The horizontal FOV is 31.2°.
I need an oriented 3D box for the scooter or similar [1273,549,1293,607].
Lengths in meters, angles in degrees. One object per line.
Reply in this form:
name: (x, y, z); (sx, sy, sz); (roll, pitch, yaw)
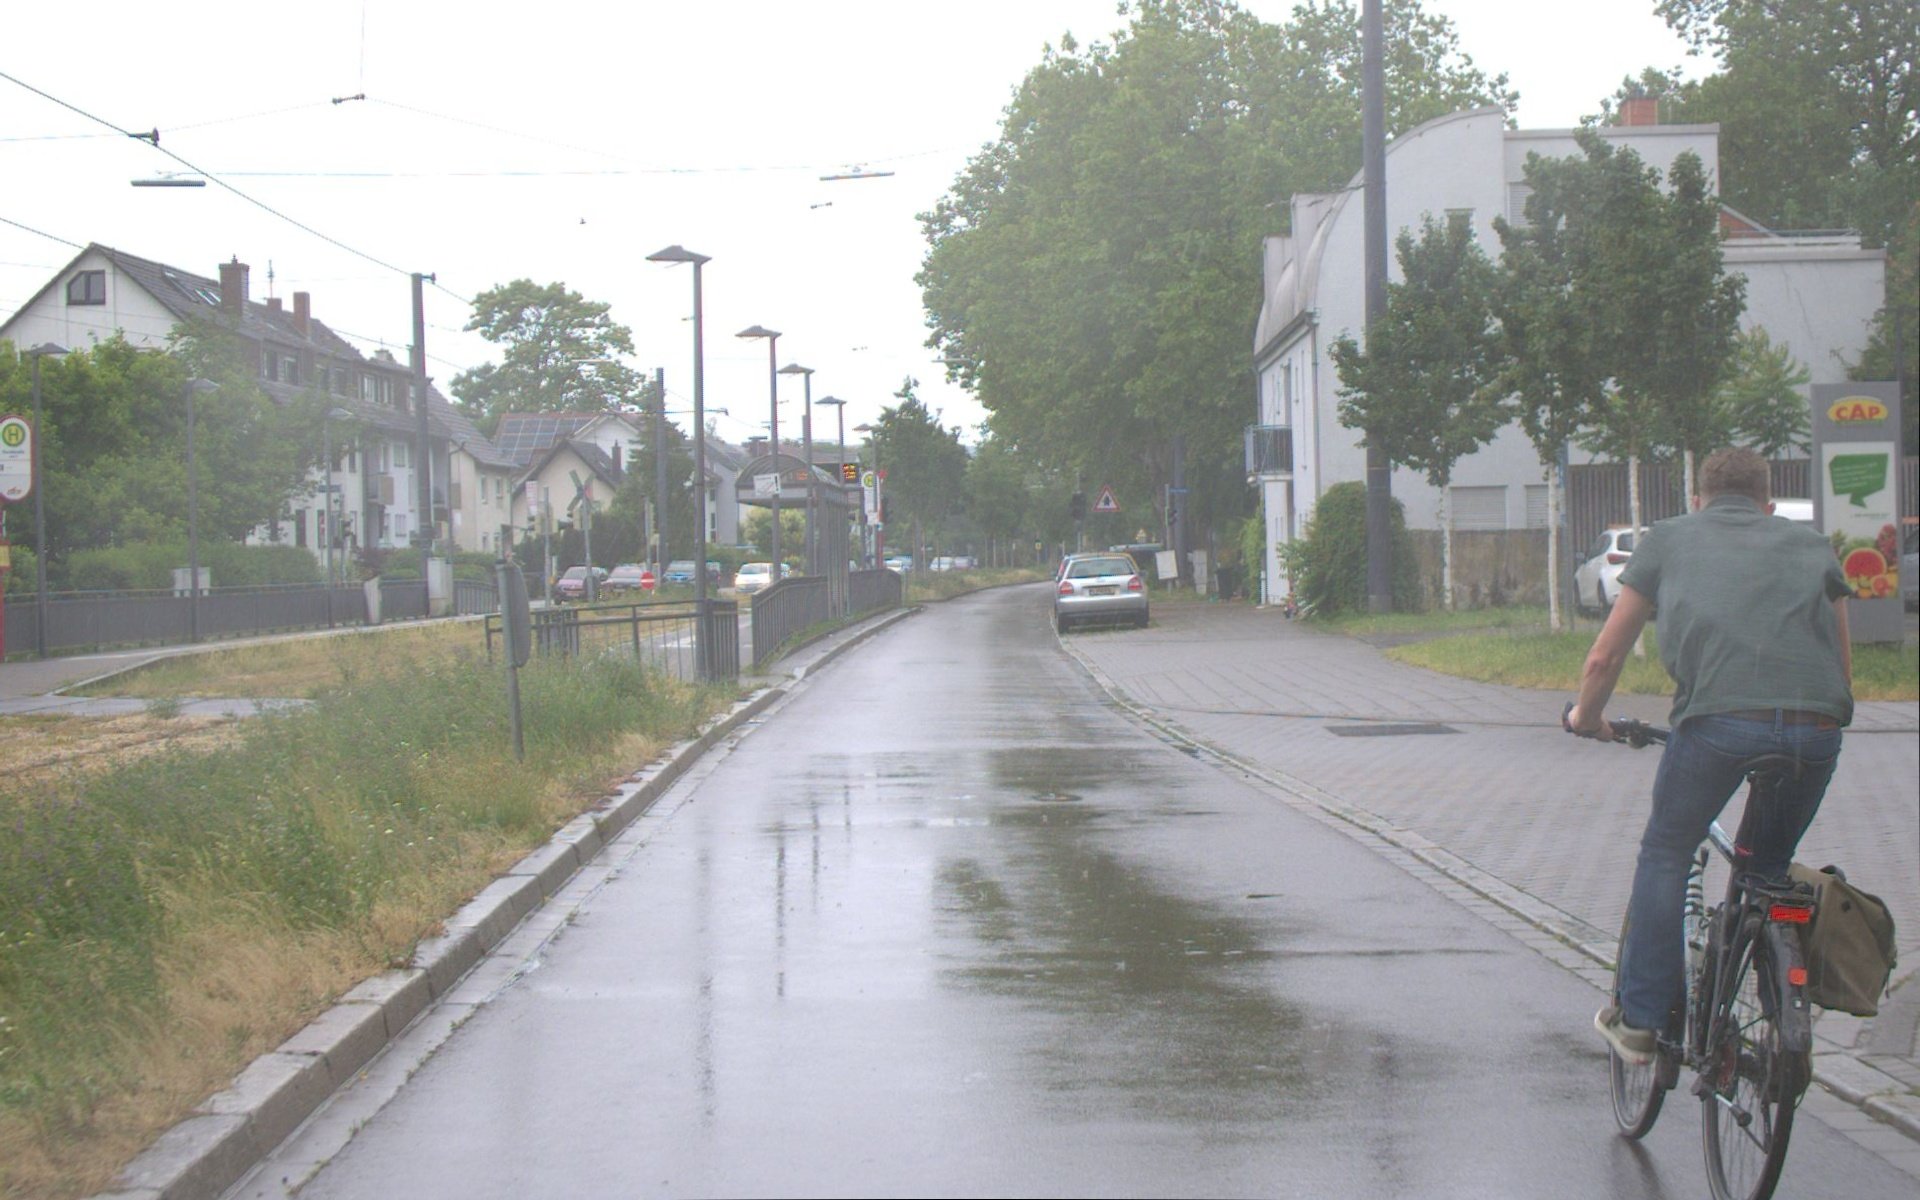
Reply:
scooter or similar: (6.101, -0.403, 64.918); (0.333, 1.081, 1.395); (0, 0, 6)

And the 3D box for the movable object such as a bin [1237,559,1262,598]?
movable object such as a bin: (7.651, -0.568, 90.810); (0.536, 1.018, 0.739); (-3, 0, 1)

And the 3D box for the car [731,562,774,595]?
car: (-9.586, -0.989, 159.082); (1.633, 1.488, 4.000); (0, 0, 2)

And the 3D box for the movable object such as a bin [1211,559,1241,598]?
movable object such as a bin: (7.089, -0.571, 91.545); (0.692, 1.018, 0.824); (-3, 0, 1)

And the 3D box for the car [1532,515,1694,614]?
car: (10.486, -0.602, 55.465); (1.963, 1.529, 4.363); (0, 1, 3)

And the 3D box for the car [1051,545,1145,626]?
car: (2.634, -0.264, 66.226); (1.650, 1.400, 4.649); (-4, 0, 2)

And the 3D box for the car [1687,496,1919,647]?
car: (10.547, -0.398, 43.236); (1.963, 1.778, 4.897); (0, 1, 2)

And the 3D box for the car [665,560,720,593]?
car: (-12.217, -1.058, 157.055); (1.929, 1.481, 3.999); (0, 0, 4)

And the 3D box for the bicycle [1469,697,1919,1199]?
bicycle: (1.707, 0.800, 8.071); (0.536, 1.089, 1.949); (0, 0, -6)

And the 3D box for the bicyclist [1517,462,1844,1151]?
bicyclist: (1.694, 0.464, 8.164); (0.534, 1.554, 0.773); (0, 0, -7)

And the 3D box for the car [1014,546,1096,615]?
car: (2.269, -0.453, 82.219); (1.807, 1.462, 3.794); (-4, 0, 2)
